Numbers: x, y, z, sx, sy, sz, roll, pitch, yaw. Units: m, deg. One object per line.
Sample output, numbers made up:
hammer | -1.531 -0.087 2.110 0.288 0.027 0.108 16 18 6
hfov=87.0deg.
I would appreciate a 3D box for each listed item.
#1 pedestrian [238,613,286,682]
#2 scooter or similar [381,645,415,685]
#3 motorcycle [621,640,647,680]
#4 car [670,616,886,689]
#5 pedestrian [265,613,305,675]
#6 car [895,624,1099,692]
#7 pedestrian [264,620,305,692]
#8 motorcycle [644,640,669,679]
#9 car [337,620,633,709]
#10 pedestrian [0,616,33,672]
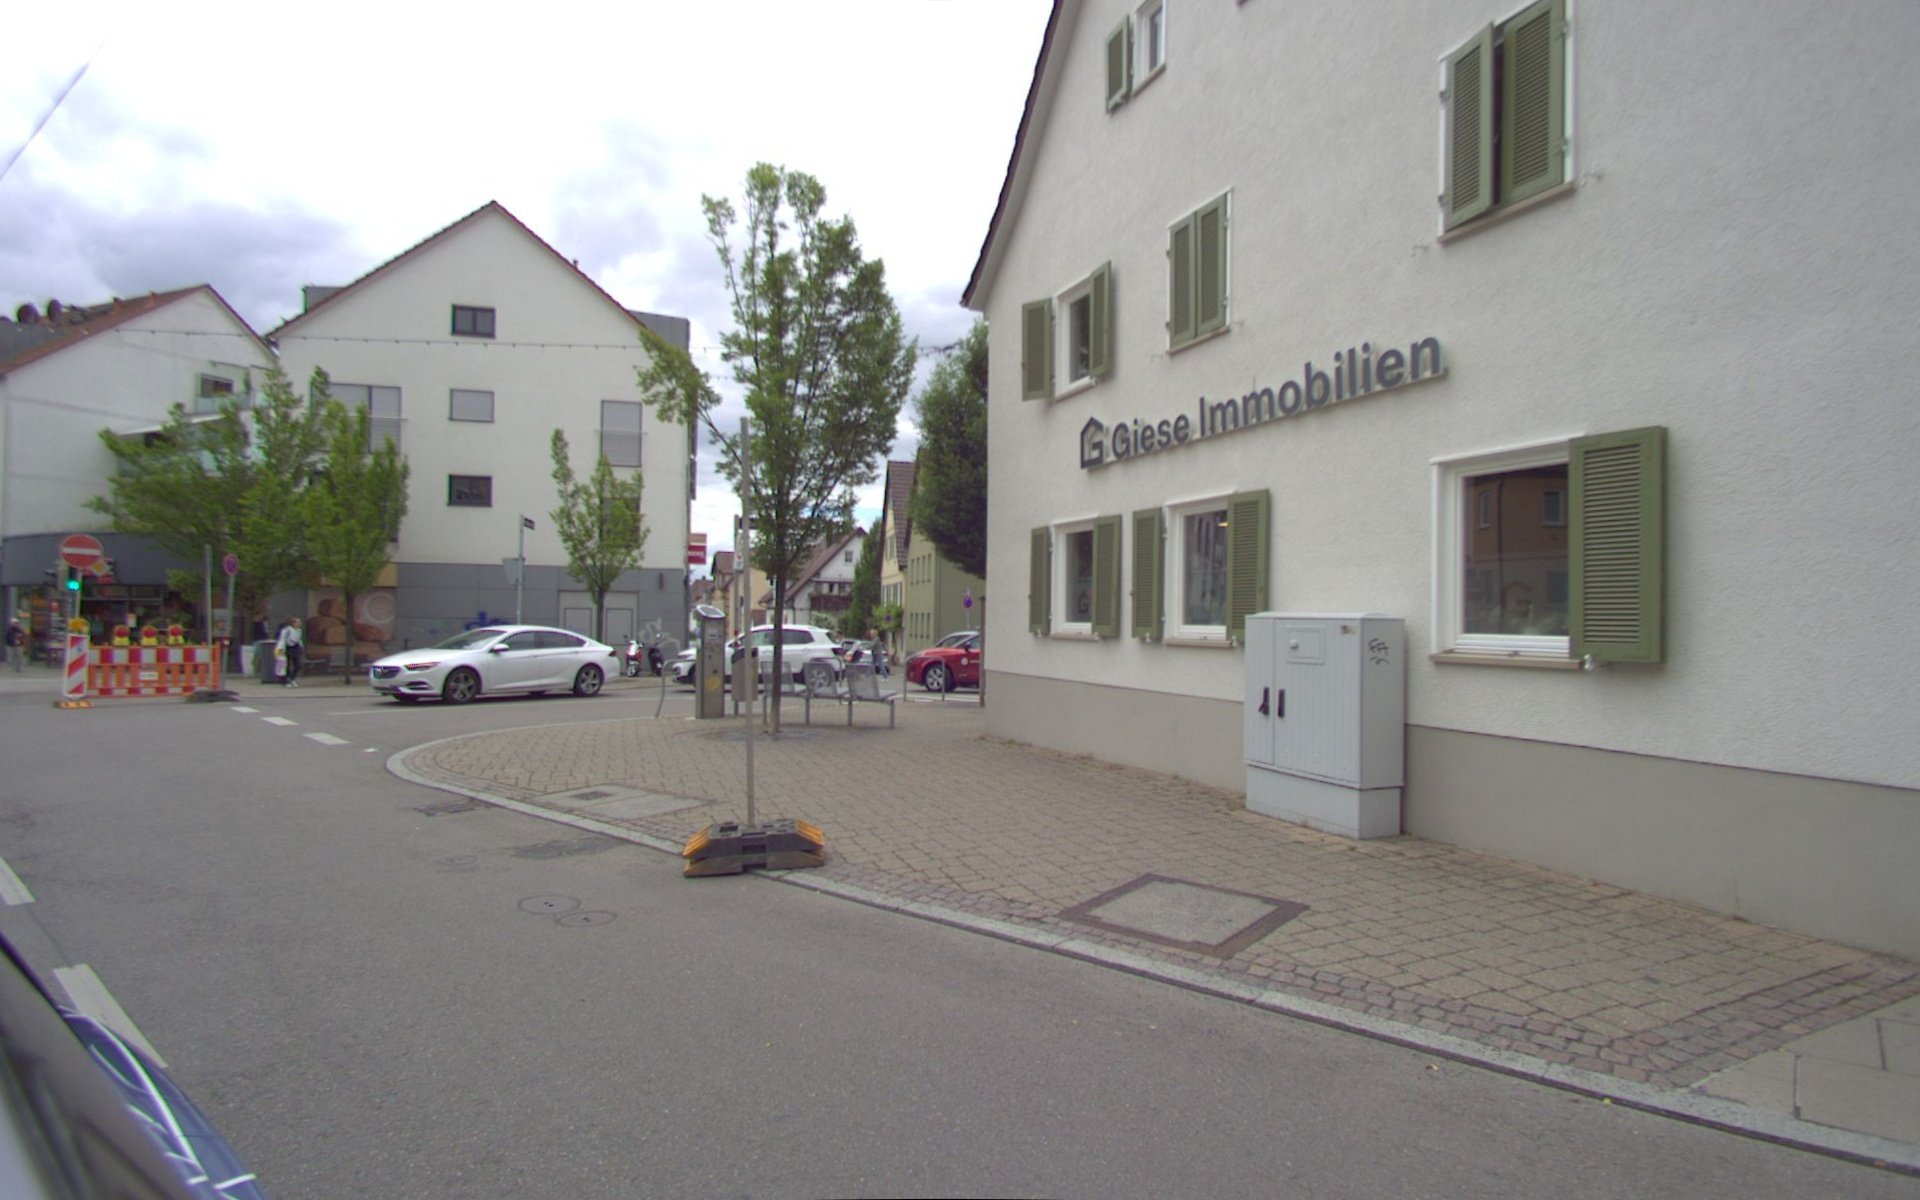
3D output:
pedestrian | -19.937 1.351 28.941 0.774 1.940 0.816 0 -2 3
scooter or similar | -16.895 1.938 30.444 0.587 1.132 1.537 1 -2 -18
motorcycle | -10.414 1.891 32.339 0.564 1.157 1.791 -2 0 -11
car | -4.317 1.204 24.071 4.838 1.569 2.026 0 -1 -12
pedestrian | -19.989 1.290 29.967 0.708 1.804 0.694 0 -2 -1
car | 0.901 1.411 25.101 4.853 1.569 2.020 -1 -1 3
pedestrian | -15.463 1.268 23.161 0.672 1.604 0.880 2 -3 -39
motorcycle | -9.740 1.889 32.510 0.564 1.157 1.791 -2 0 -11
car | -9.113 1.157 19.863 2.242 1.488 4.864 -1 -1 32
pedestrian | -29.622 1.373 31.561 0.813 1.726 0.826 -1 -3 31
